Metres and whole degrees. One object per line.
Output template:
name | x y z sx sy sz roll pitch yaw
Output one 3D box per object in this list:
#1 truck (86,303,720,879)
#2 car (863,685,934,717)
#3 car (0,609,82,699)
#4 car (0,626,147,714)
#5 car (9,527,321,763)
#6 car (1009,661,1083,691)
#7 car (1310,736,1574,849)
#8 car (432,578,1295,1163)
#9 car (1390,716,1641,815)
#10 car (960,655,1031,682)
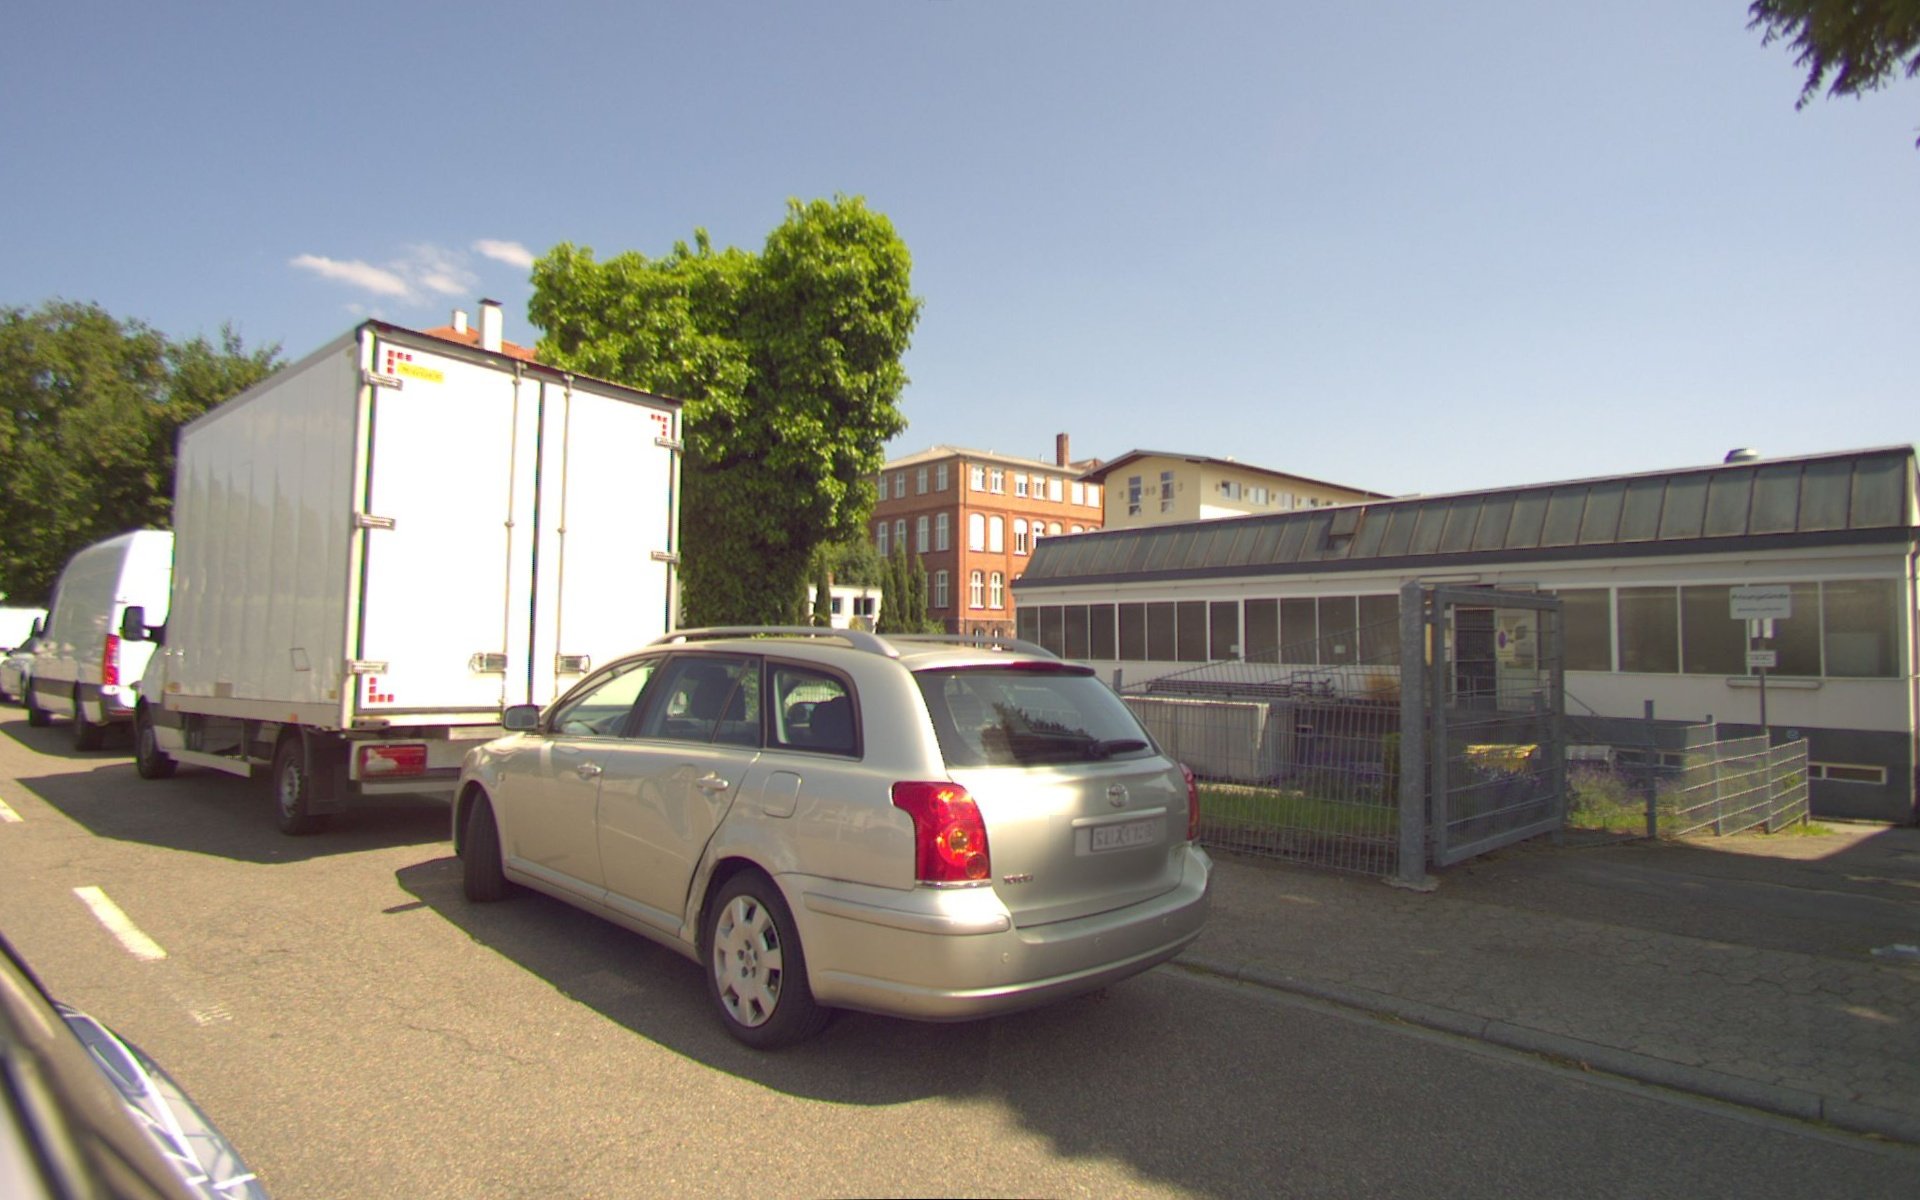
truck | -5.491 0.020 9.284 7.125 3.392 2.657 -1 -3 40
car | -3.722 5.996 60.532 1.794 1.690 4.609 5 -5 -40
car | -23.252 1.267 24.748 5.054 2.029 1.950 -1 -4 41
car | -17.833 1.329 20.083 4.396 1.555 1.697 -1 -4 39
car | -11.472 0.585 14.329 6.917 2.616 2.145 -1 -4 41
car | 5.530 4.861 64.933 4.529 1.690 2.120 2 -1 -39
car | 8.843 3.446 18.765 4.002 1.453 1.971 -2 -3 45
car | -0.831 0.807 4.825 4.312 1.533 1.721 -2 -4 45
car | 10.990 3.199 20.204 4.002 1.453 1.971 -2 -3 45
car | 2.443 4.631 68.785 4.529 1.690 2.120 2 -1 -39
